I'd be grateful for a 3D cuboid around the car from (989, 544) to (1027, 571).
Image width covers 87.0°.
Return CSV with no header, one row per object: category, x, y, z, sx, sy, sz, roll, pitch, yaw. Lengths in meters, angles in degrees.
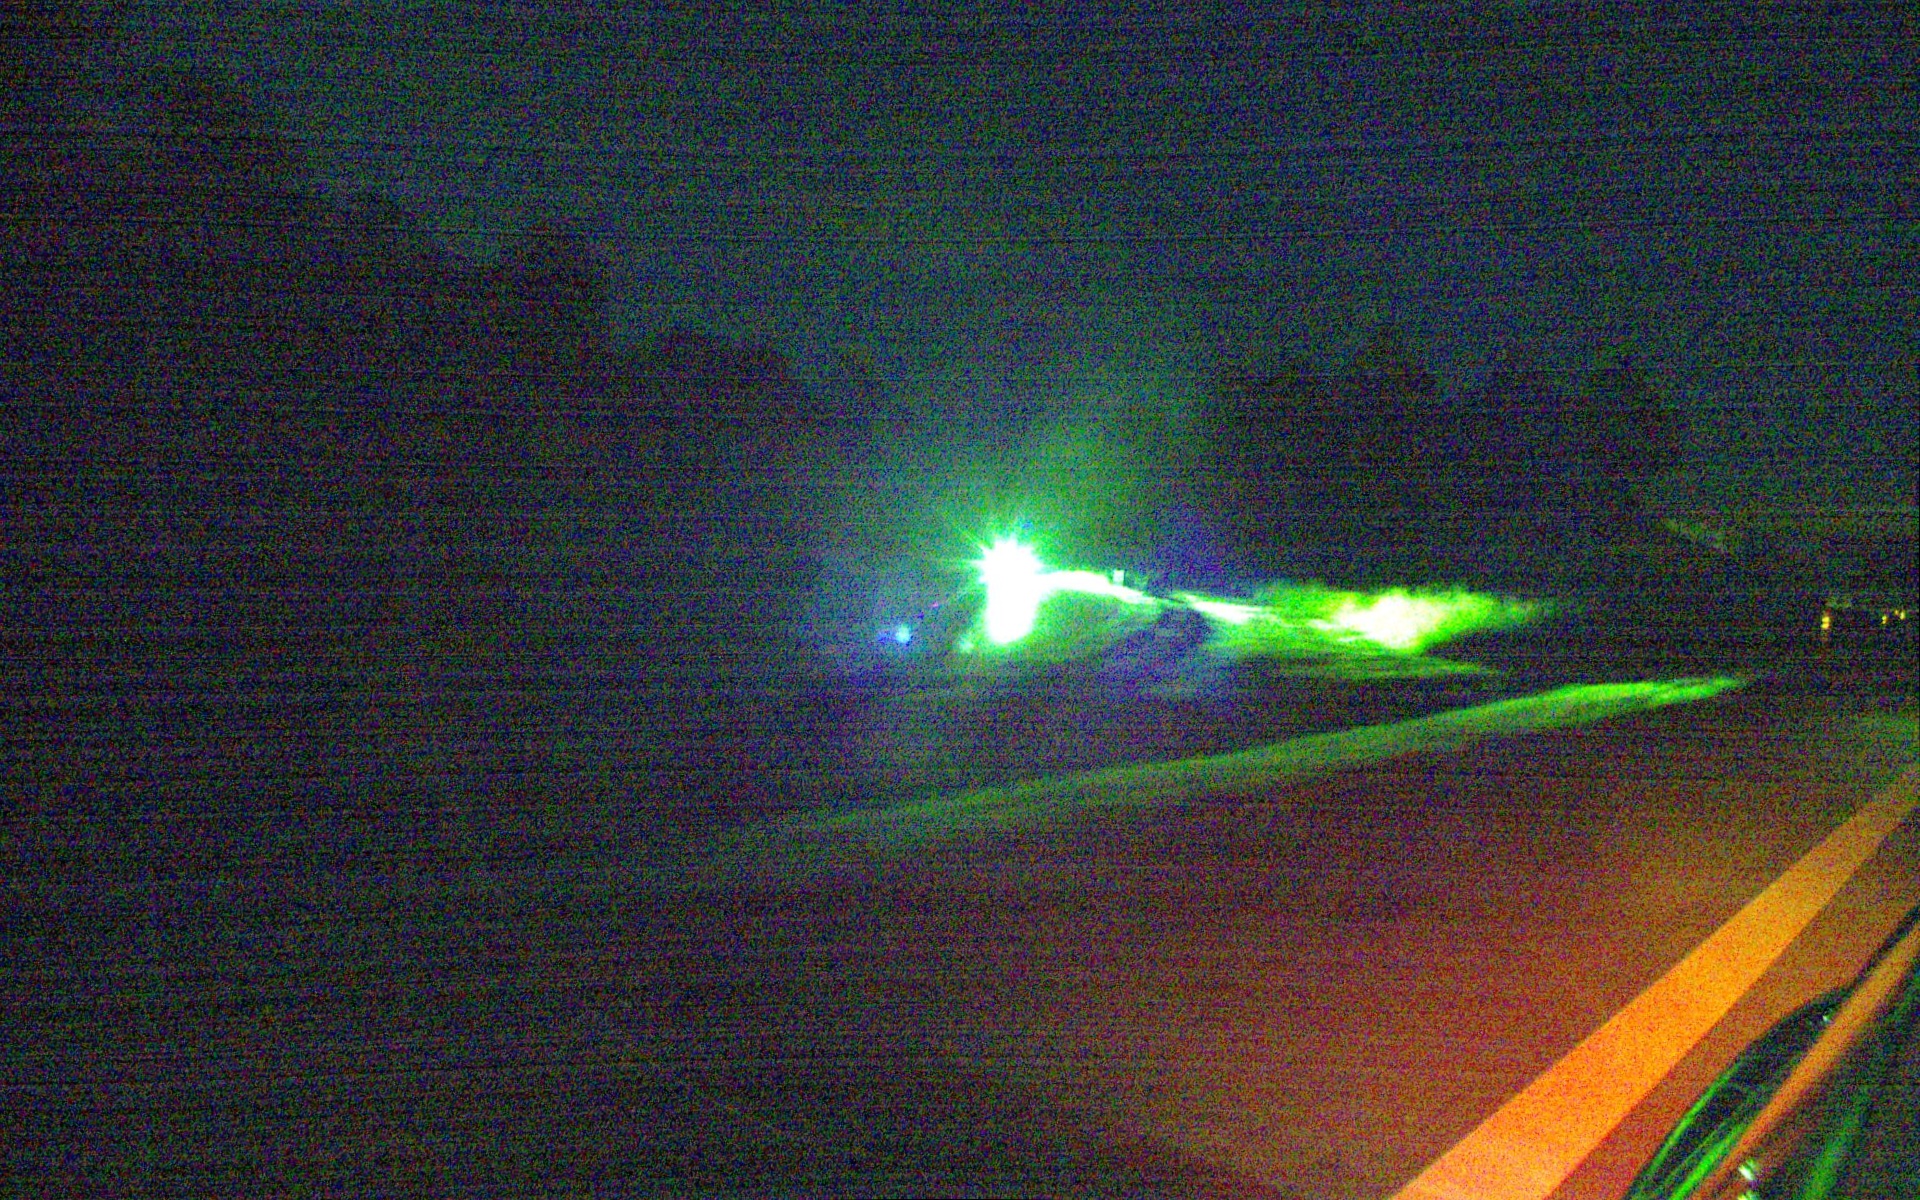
car,3.649,-3.231,77.957,1.958,1.877,4.007,0,0,-11
